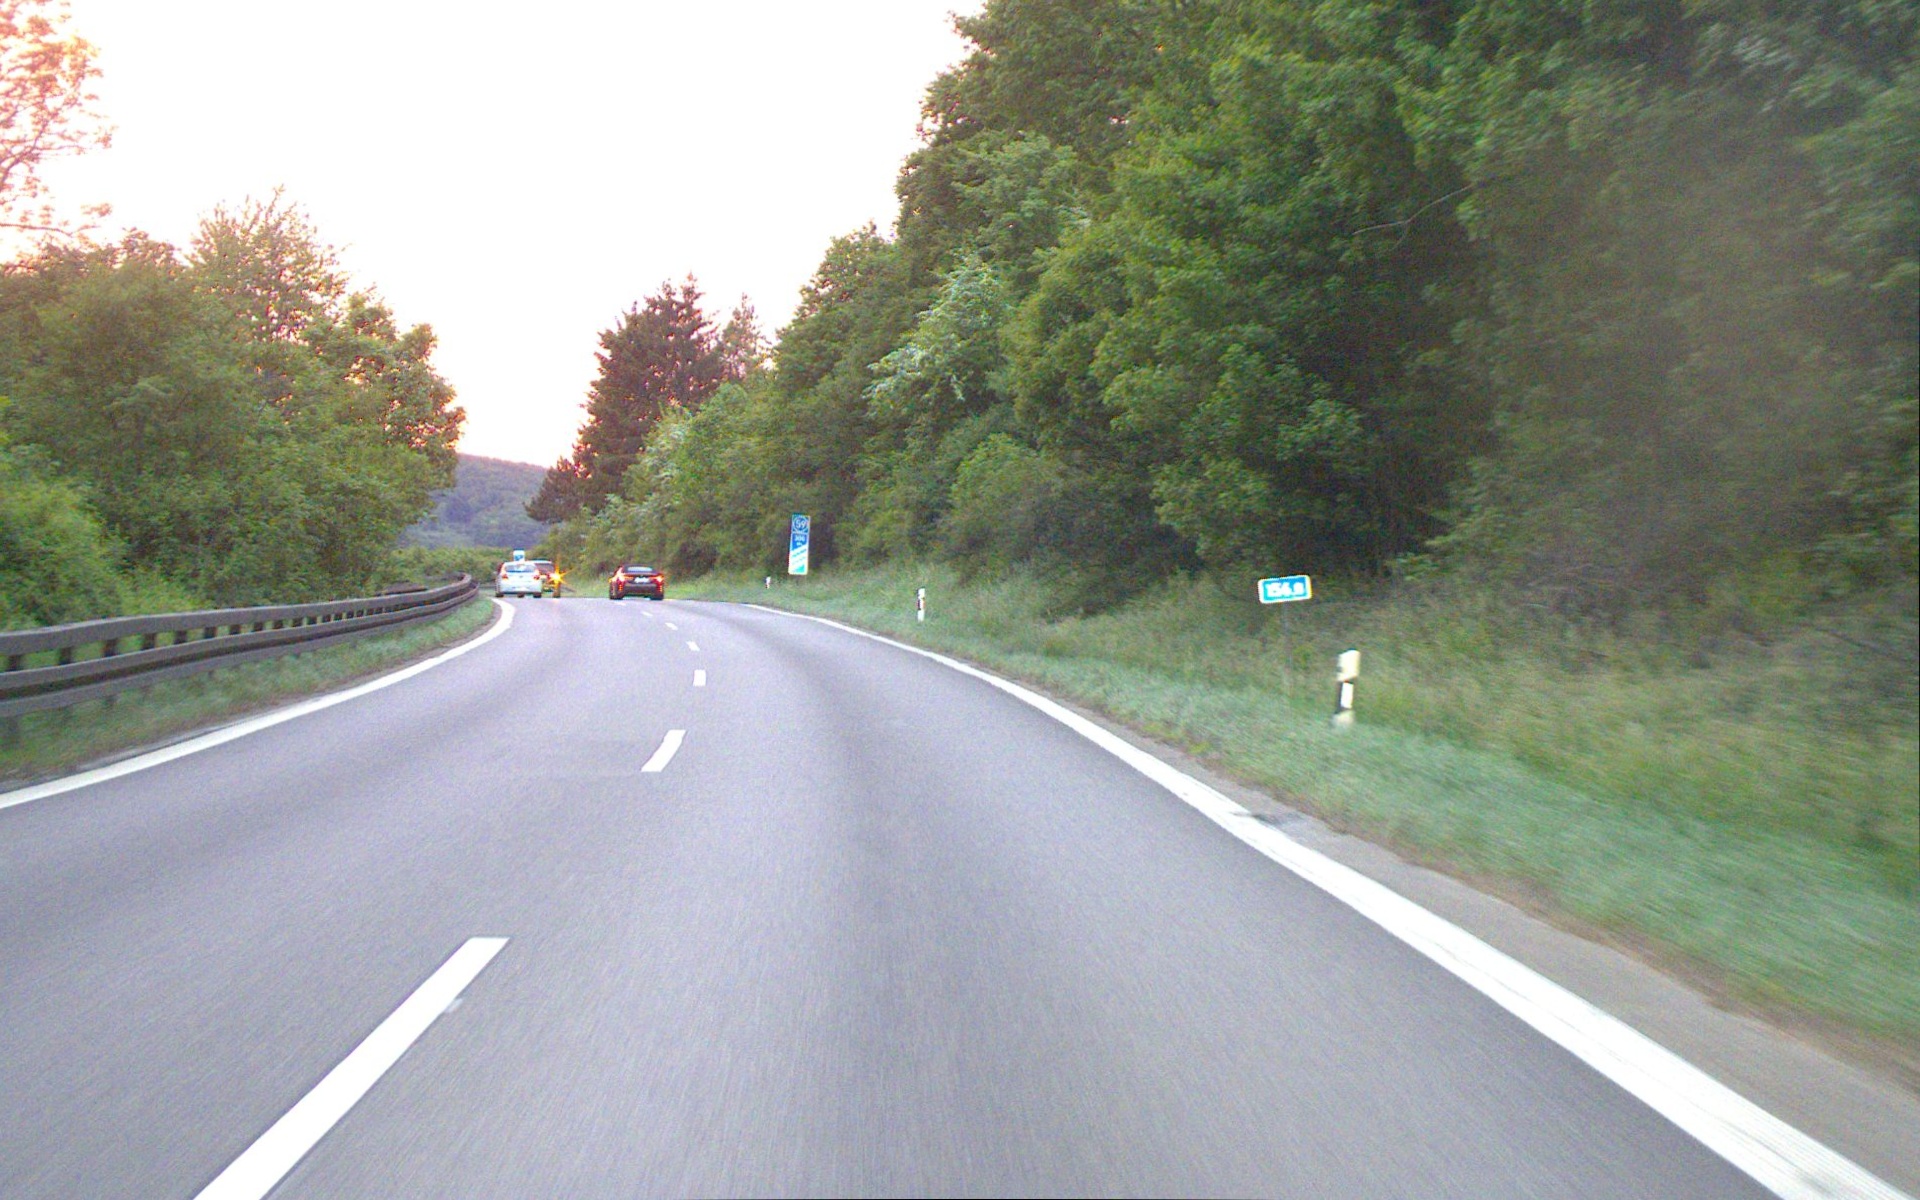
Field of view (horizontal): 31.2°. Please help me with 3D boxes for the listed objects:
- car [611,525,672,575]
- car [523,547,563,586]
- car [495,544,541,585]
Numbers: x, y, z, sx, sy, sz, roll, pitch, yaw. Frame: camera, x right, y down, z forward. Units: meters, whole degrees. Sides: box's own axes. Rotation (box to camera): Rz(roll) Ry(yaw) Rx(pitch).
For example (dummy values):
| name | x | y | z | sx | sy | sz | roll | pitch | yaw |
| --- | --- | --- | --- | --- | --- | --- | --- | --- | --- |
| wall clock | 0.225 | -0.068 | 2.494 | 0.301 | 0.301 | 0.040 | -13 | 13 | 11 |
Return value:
| name | x | y | z | sx | sy | sz | roll | pitch | yaw |
| --- | --- | --- | --- | --- | --- | --- | --- | --- | --- |
| car | -12.538 | -1.936 | 135.091 | 1.993 | 1.640 | 4.000 | 4 | -3 | -9 |
| car | -18.567 | -1.487 | 153.079 | 1.718 | 1.629 | 4.001 | 2 | -1 | -7 |
| car | -18.185 | -1.448 | 141.553 | 1.718 | 1.496 | 4.000 | 2 | -1 | -5 |
